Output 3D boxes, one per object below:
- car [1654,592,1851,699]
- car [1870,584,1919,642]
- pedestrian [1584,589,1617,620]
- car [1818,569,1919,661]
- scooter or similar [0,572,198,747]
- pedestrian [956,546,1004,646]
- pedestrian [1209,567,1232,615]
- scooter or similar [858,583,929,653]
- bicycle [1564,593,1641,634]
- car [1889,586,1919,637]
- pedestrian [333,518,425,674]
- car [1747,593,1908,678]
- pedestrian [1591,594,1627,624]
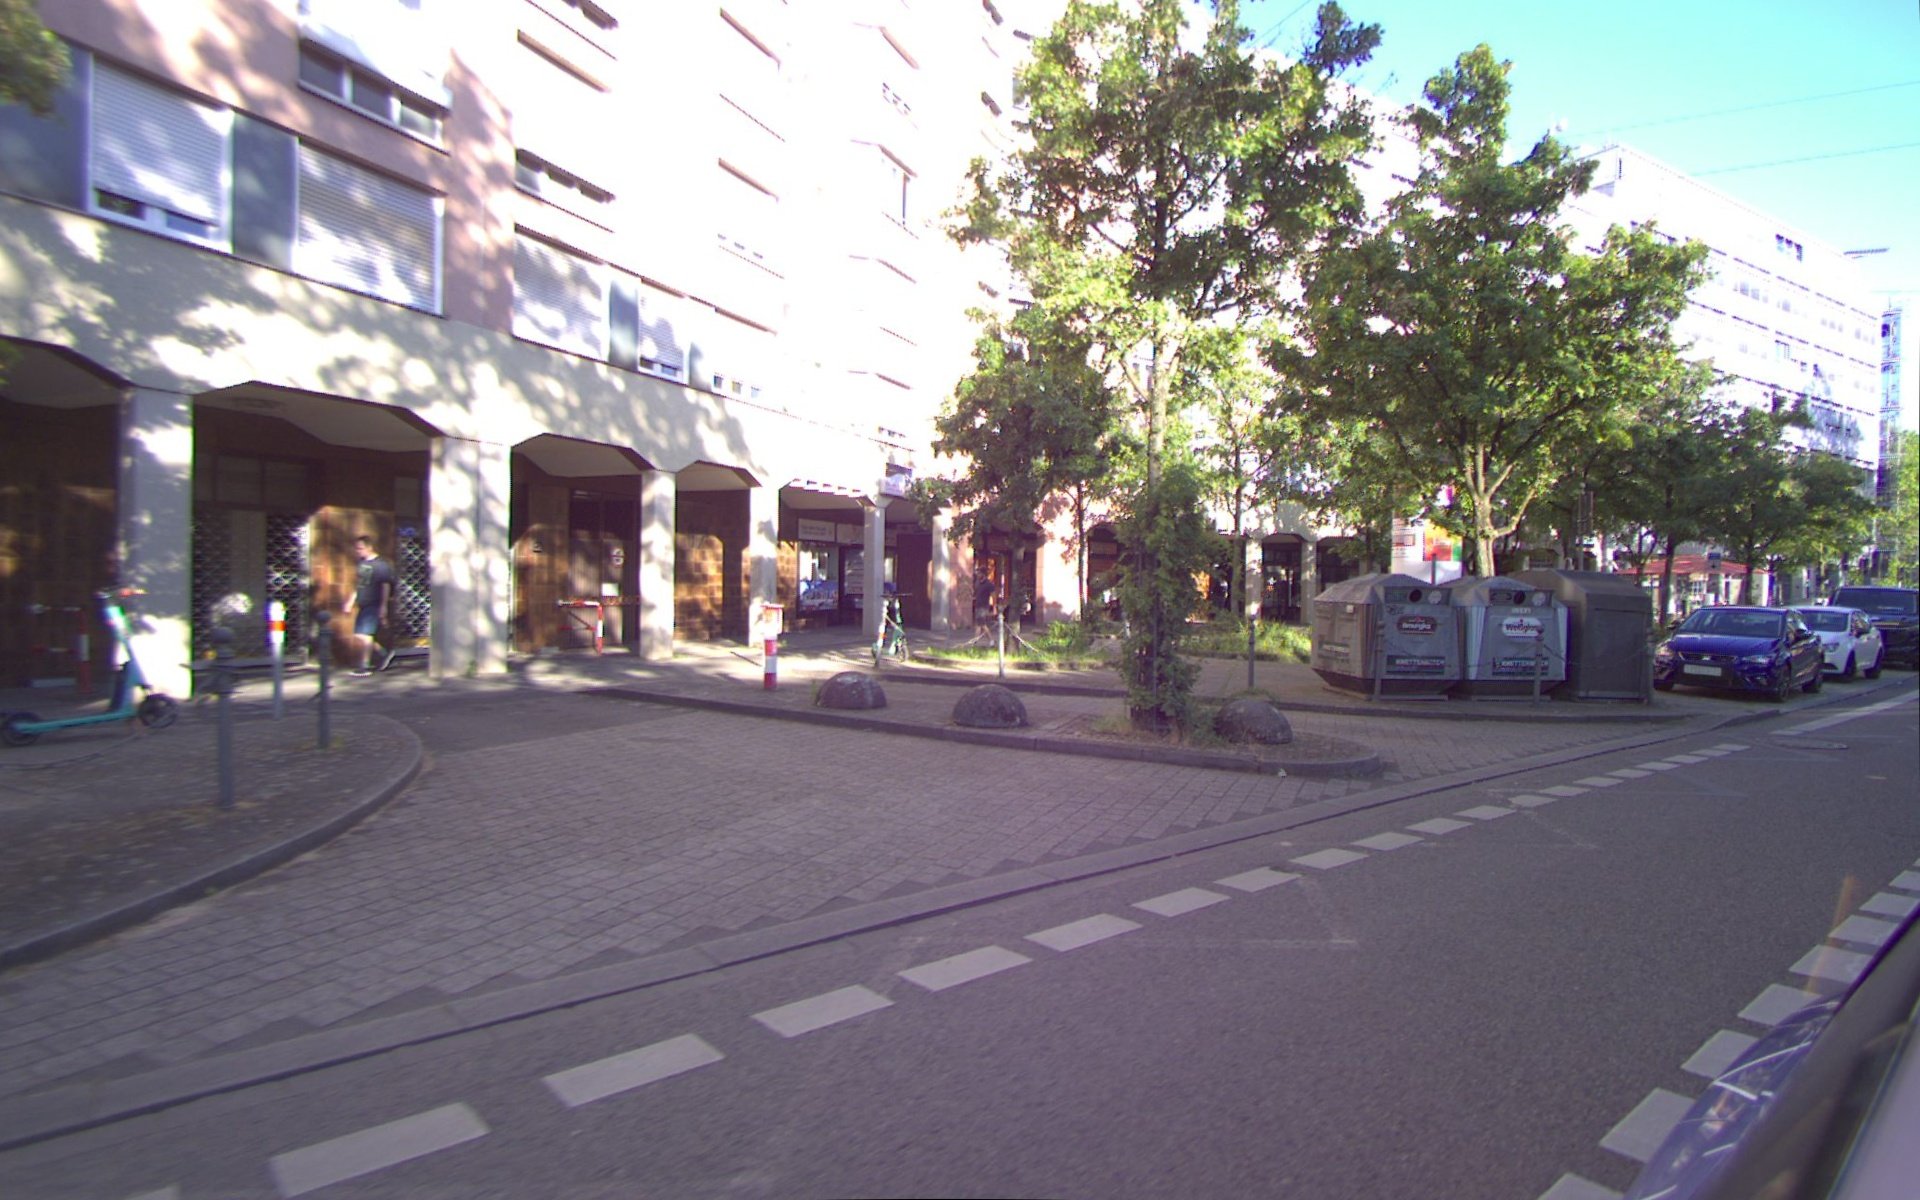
[{"bbox_3d":[13.181,0.666,16.755,4.173,1.502,1.706,0,2,-40],"label":"car"},{"bbox_3d":[31.362,0.411,33.111,4.495,1.745,1.801,0,3,-42],"label":"car"},{"bbox_3d":[26.802,0.188,42.351,0.951,1.266,0.931,1,1,-39],"label":"pedestrian"},{"bbox_3d":[22.625,0.321,24.694,5.112,1.967,2.040,0,3,-44],"label":"car"},{"bbox_3d":[-7.031,0.427,8.089,0.481,1.290,1.436,1,1,28],"label":"scooter or similar"},{"bbox_3d":[0.414,-0.079,20.720,0.760,2.006,0.642,0,0,-24],"label":"pedestrian"},{"bbox_3d":[10.374,-0.356,40.293,0.696,1.894,0.622,0,0,-40],"label":"pedestrian"},{"bbox_3d":[-1.174,0.296,17.701,0.548,1.160,1.459,0,1,-36],"label":"scooter or similar"},{"bbox_3d":[19.447,0.417,30.633,2.138,1.202,0.657,1,0,-15],"label":"bicycle"},{"bbox_3d":[35.314,0.421,36.792,4.383,1.745,1.801,0,3,-42],"label":"car"},{"bbox_3d":[-7.815,-0.062,13.611,0.814,2.006,0.836,1,1,39],"label":"pedestrian"},{"bbox_3d":[17.504,0.647,20.363,4.099,1.483,1.706,0,2,-39],"label":"car"},{"bbox_3d":[27.751,0.374,43.266,1.102,1.228,0.889,0,1,-33],"label":"pedestrian"}]
